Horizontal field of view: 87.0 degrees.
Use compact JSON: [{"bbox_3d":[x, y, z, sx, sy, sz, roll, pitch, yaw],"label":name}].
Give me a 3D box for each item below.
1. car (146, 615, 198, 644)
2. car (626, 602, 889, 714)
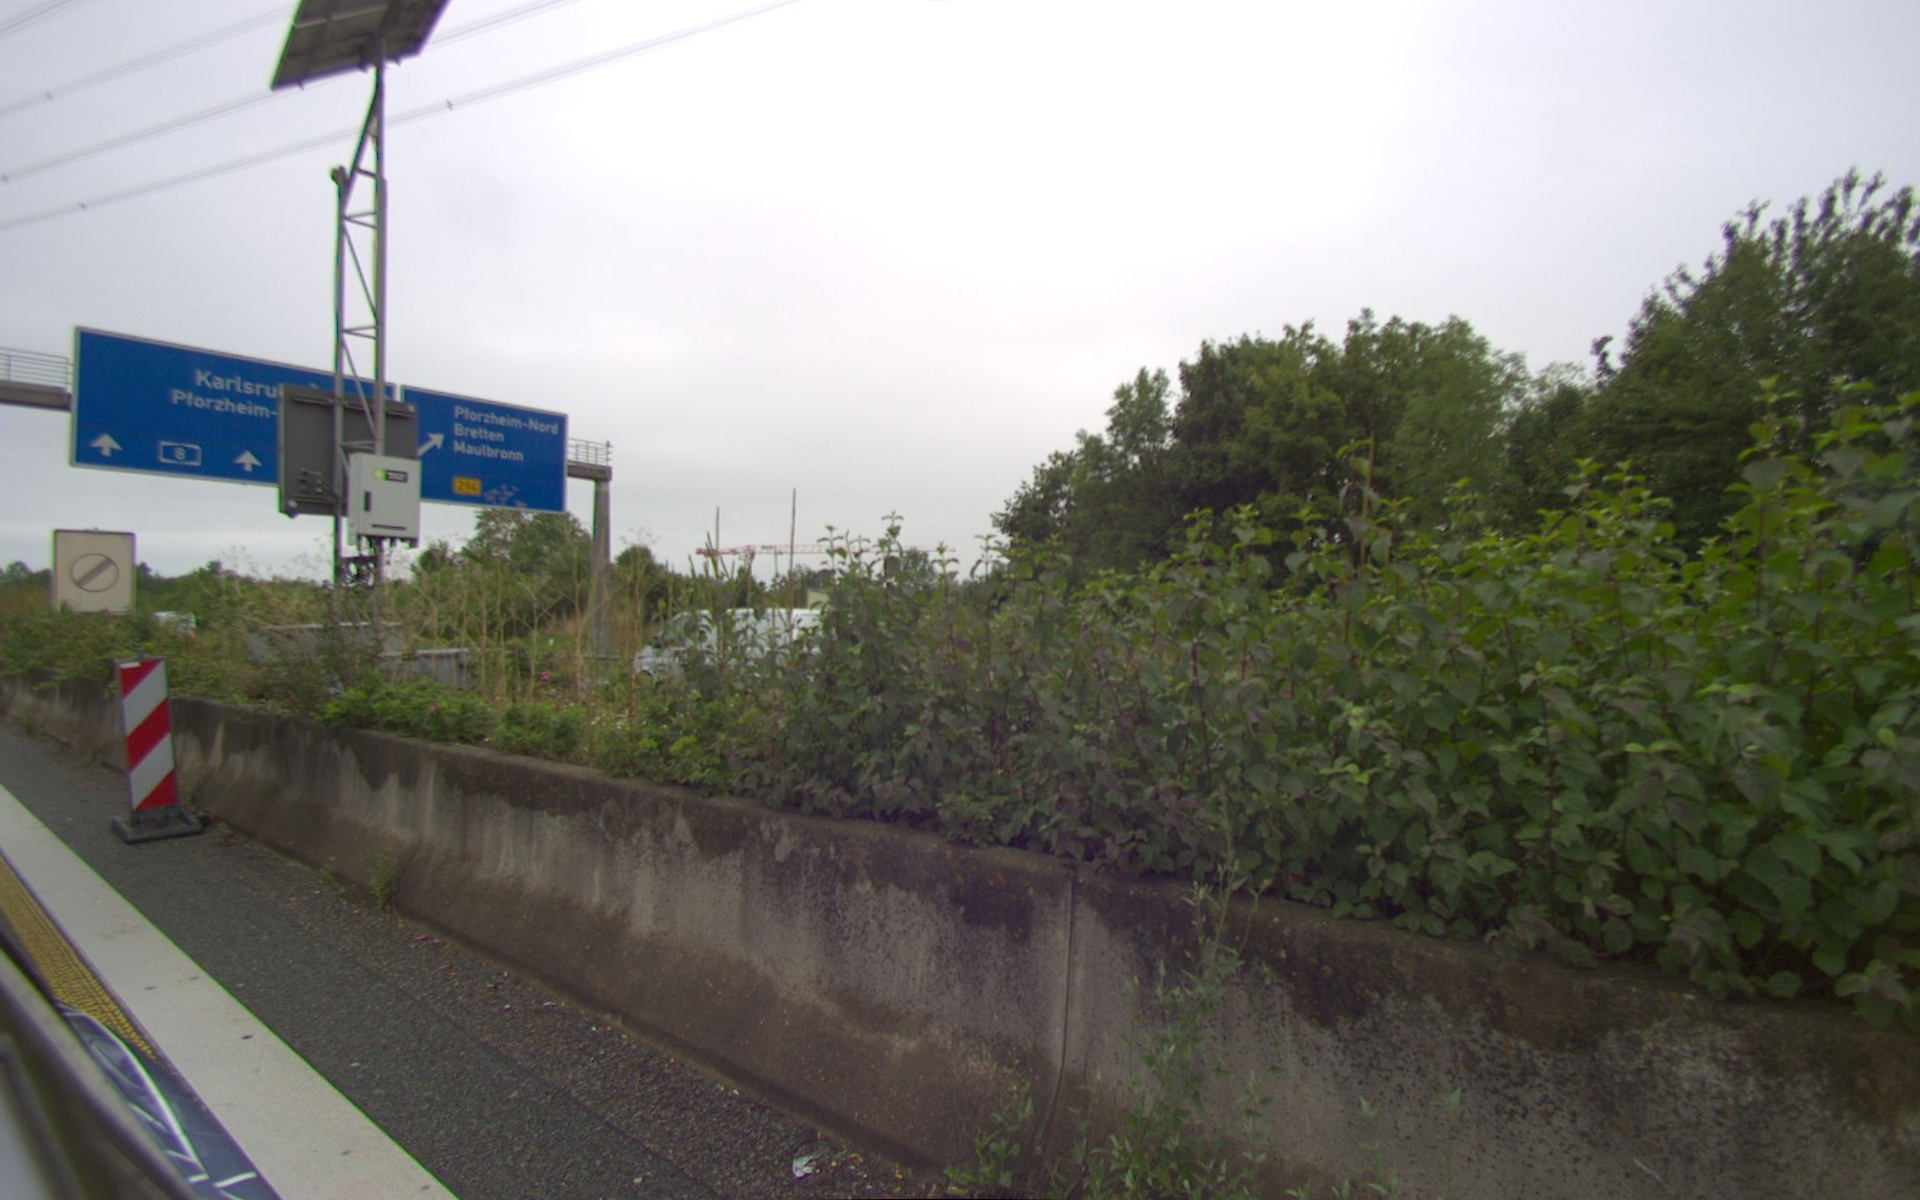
[{"bbox_3d":[-55.815,2.078,71.640,5.057,2.029,1.973,-1,-1,41],"label":"car"},{"bbox_3d":[-3.760,0.947,18.175,5.057,1.740,1.973,-1,-1,41],"label":"car"}]
